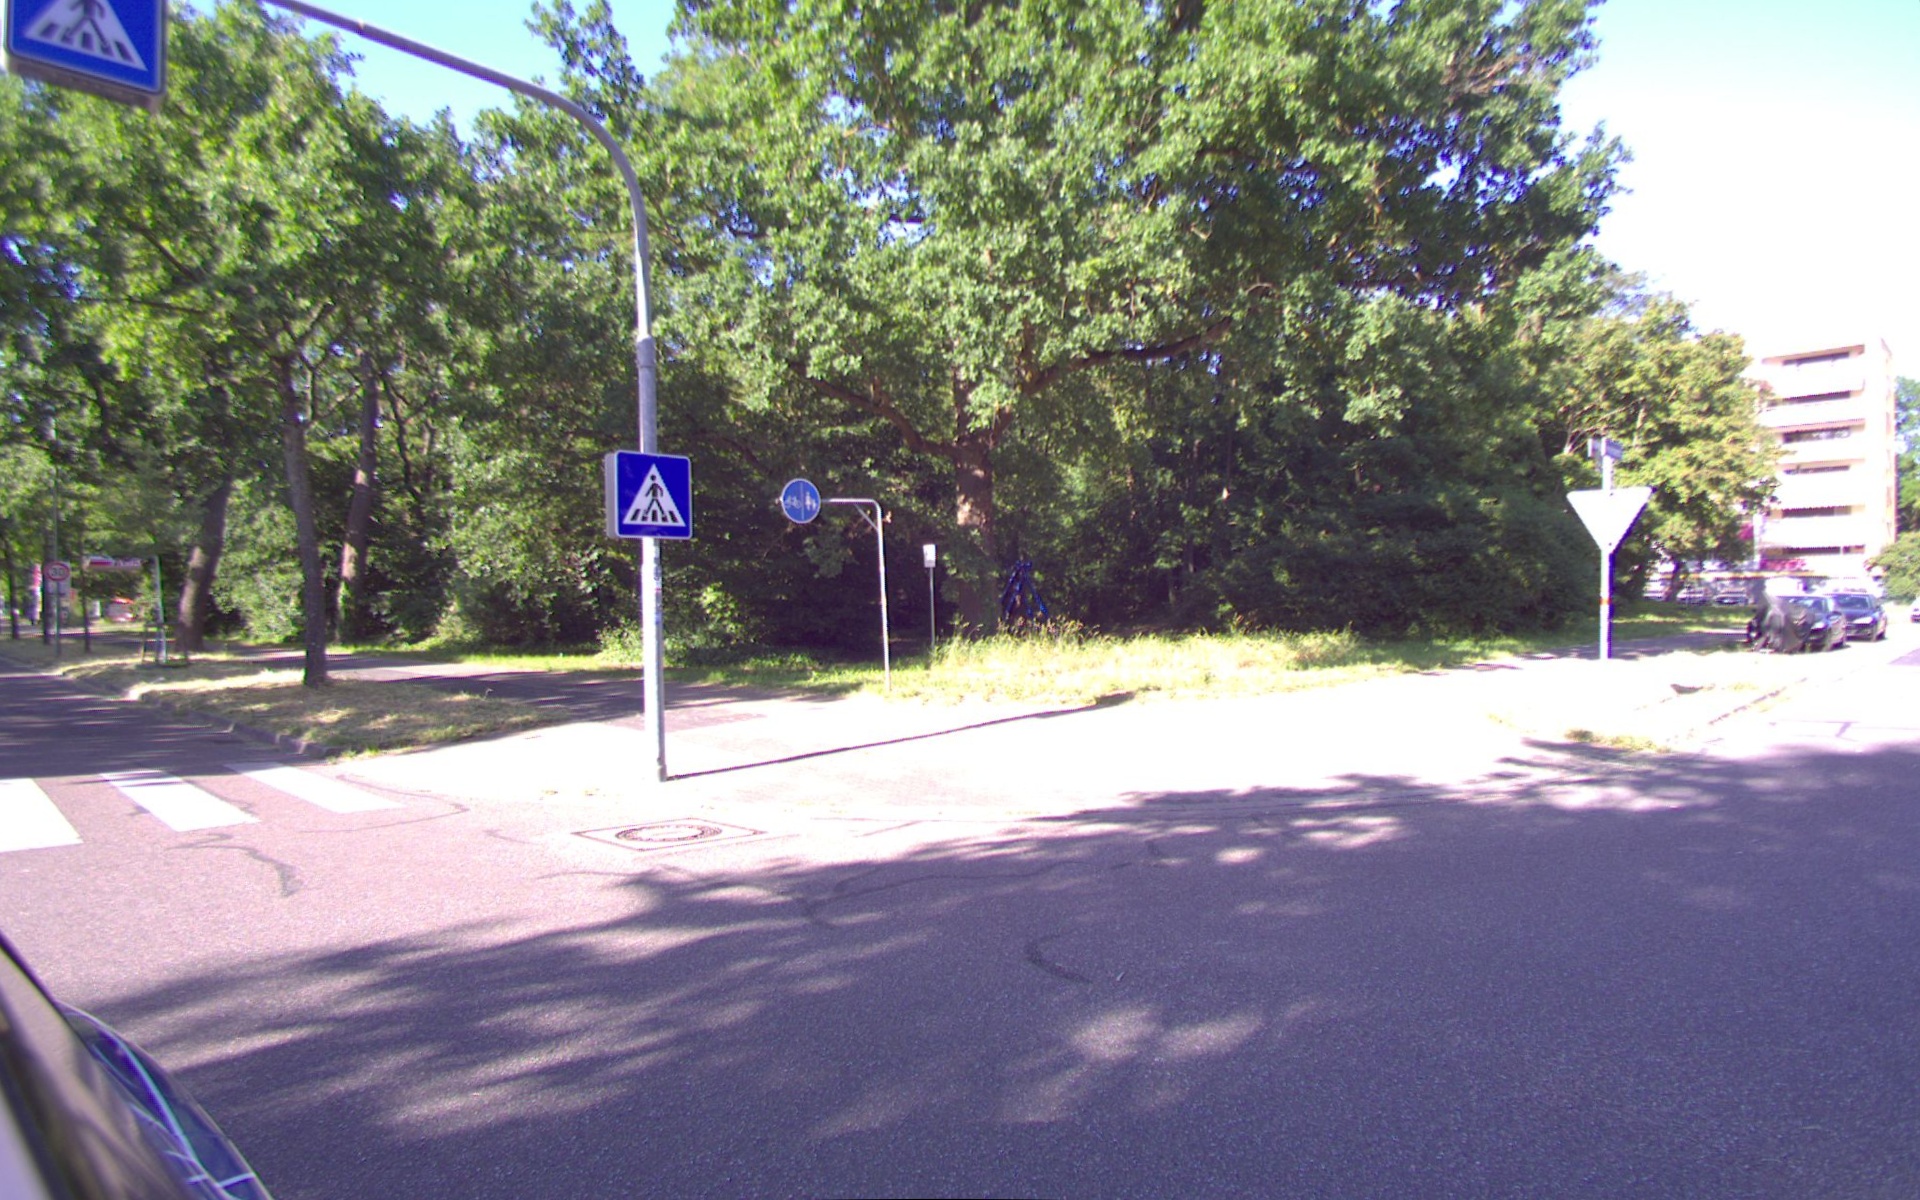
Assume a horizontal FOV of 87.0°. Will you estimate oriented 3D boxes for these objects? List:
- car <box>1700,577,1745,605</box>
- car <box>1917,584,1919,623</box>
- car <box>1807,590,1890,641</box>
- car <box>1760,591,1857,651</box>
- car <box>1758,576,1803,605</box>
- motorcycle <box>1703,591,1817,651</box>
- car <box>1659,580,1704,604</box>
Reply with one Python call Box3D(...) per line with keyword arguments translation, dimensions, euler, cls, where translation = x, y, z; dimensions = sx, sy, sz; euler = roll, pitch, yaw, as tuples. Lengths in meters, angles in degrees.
Box3D(translation=(49.874, -0.604, 66.174), dimensions=(3.779, 1.757, 1.764), euler=(-1, 0, -44), cls="car")
Box3D(translation=(41.487, 0.104, 42.541), dimensions=(3.779, 1.569, 1.647), euler=(-1, 0, -44), cls="car")
Box3D(translation=(26.697, 0.436, 30.365), dimensions=(3.535, 1.402, 1.561), euler=(-1, 0, -44), cls="car")
Box3D(translation=(22.143, 0.512, 26.372), dimensions=(3.535, 1.402, 1.561), euler=(-1, 0, -44), cls="car")
Box3D(translation=(51.668, -0.584, 63.710), dimensions=(3.779, 1.757, 1.764), euler=(-1, 0, -44), cls="car")
Box3D(translation=(18.683, 0.480, 23.679), dimensions=(1.944, 1.354, 0.672), euler=(-1, 0, 16), cls="motorcycle")
Box3D(translation=(48.094, -0.525, 67.438), dimensions=(3.779, 1.538, 1.802), euler=(-1, 0, -44), cls="car")
